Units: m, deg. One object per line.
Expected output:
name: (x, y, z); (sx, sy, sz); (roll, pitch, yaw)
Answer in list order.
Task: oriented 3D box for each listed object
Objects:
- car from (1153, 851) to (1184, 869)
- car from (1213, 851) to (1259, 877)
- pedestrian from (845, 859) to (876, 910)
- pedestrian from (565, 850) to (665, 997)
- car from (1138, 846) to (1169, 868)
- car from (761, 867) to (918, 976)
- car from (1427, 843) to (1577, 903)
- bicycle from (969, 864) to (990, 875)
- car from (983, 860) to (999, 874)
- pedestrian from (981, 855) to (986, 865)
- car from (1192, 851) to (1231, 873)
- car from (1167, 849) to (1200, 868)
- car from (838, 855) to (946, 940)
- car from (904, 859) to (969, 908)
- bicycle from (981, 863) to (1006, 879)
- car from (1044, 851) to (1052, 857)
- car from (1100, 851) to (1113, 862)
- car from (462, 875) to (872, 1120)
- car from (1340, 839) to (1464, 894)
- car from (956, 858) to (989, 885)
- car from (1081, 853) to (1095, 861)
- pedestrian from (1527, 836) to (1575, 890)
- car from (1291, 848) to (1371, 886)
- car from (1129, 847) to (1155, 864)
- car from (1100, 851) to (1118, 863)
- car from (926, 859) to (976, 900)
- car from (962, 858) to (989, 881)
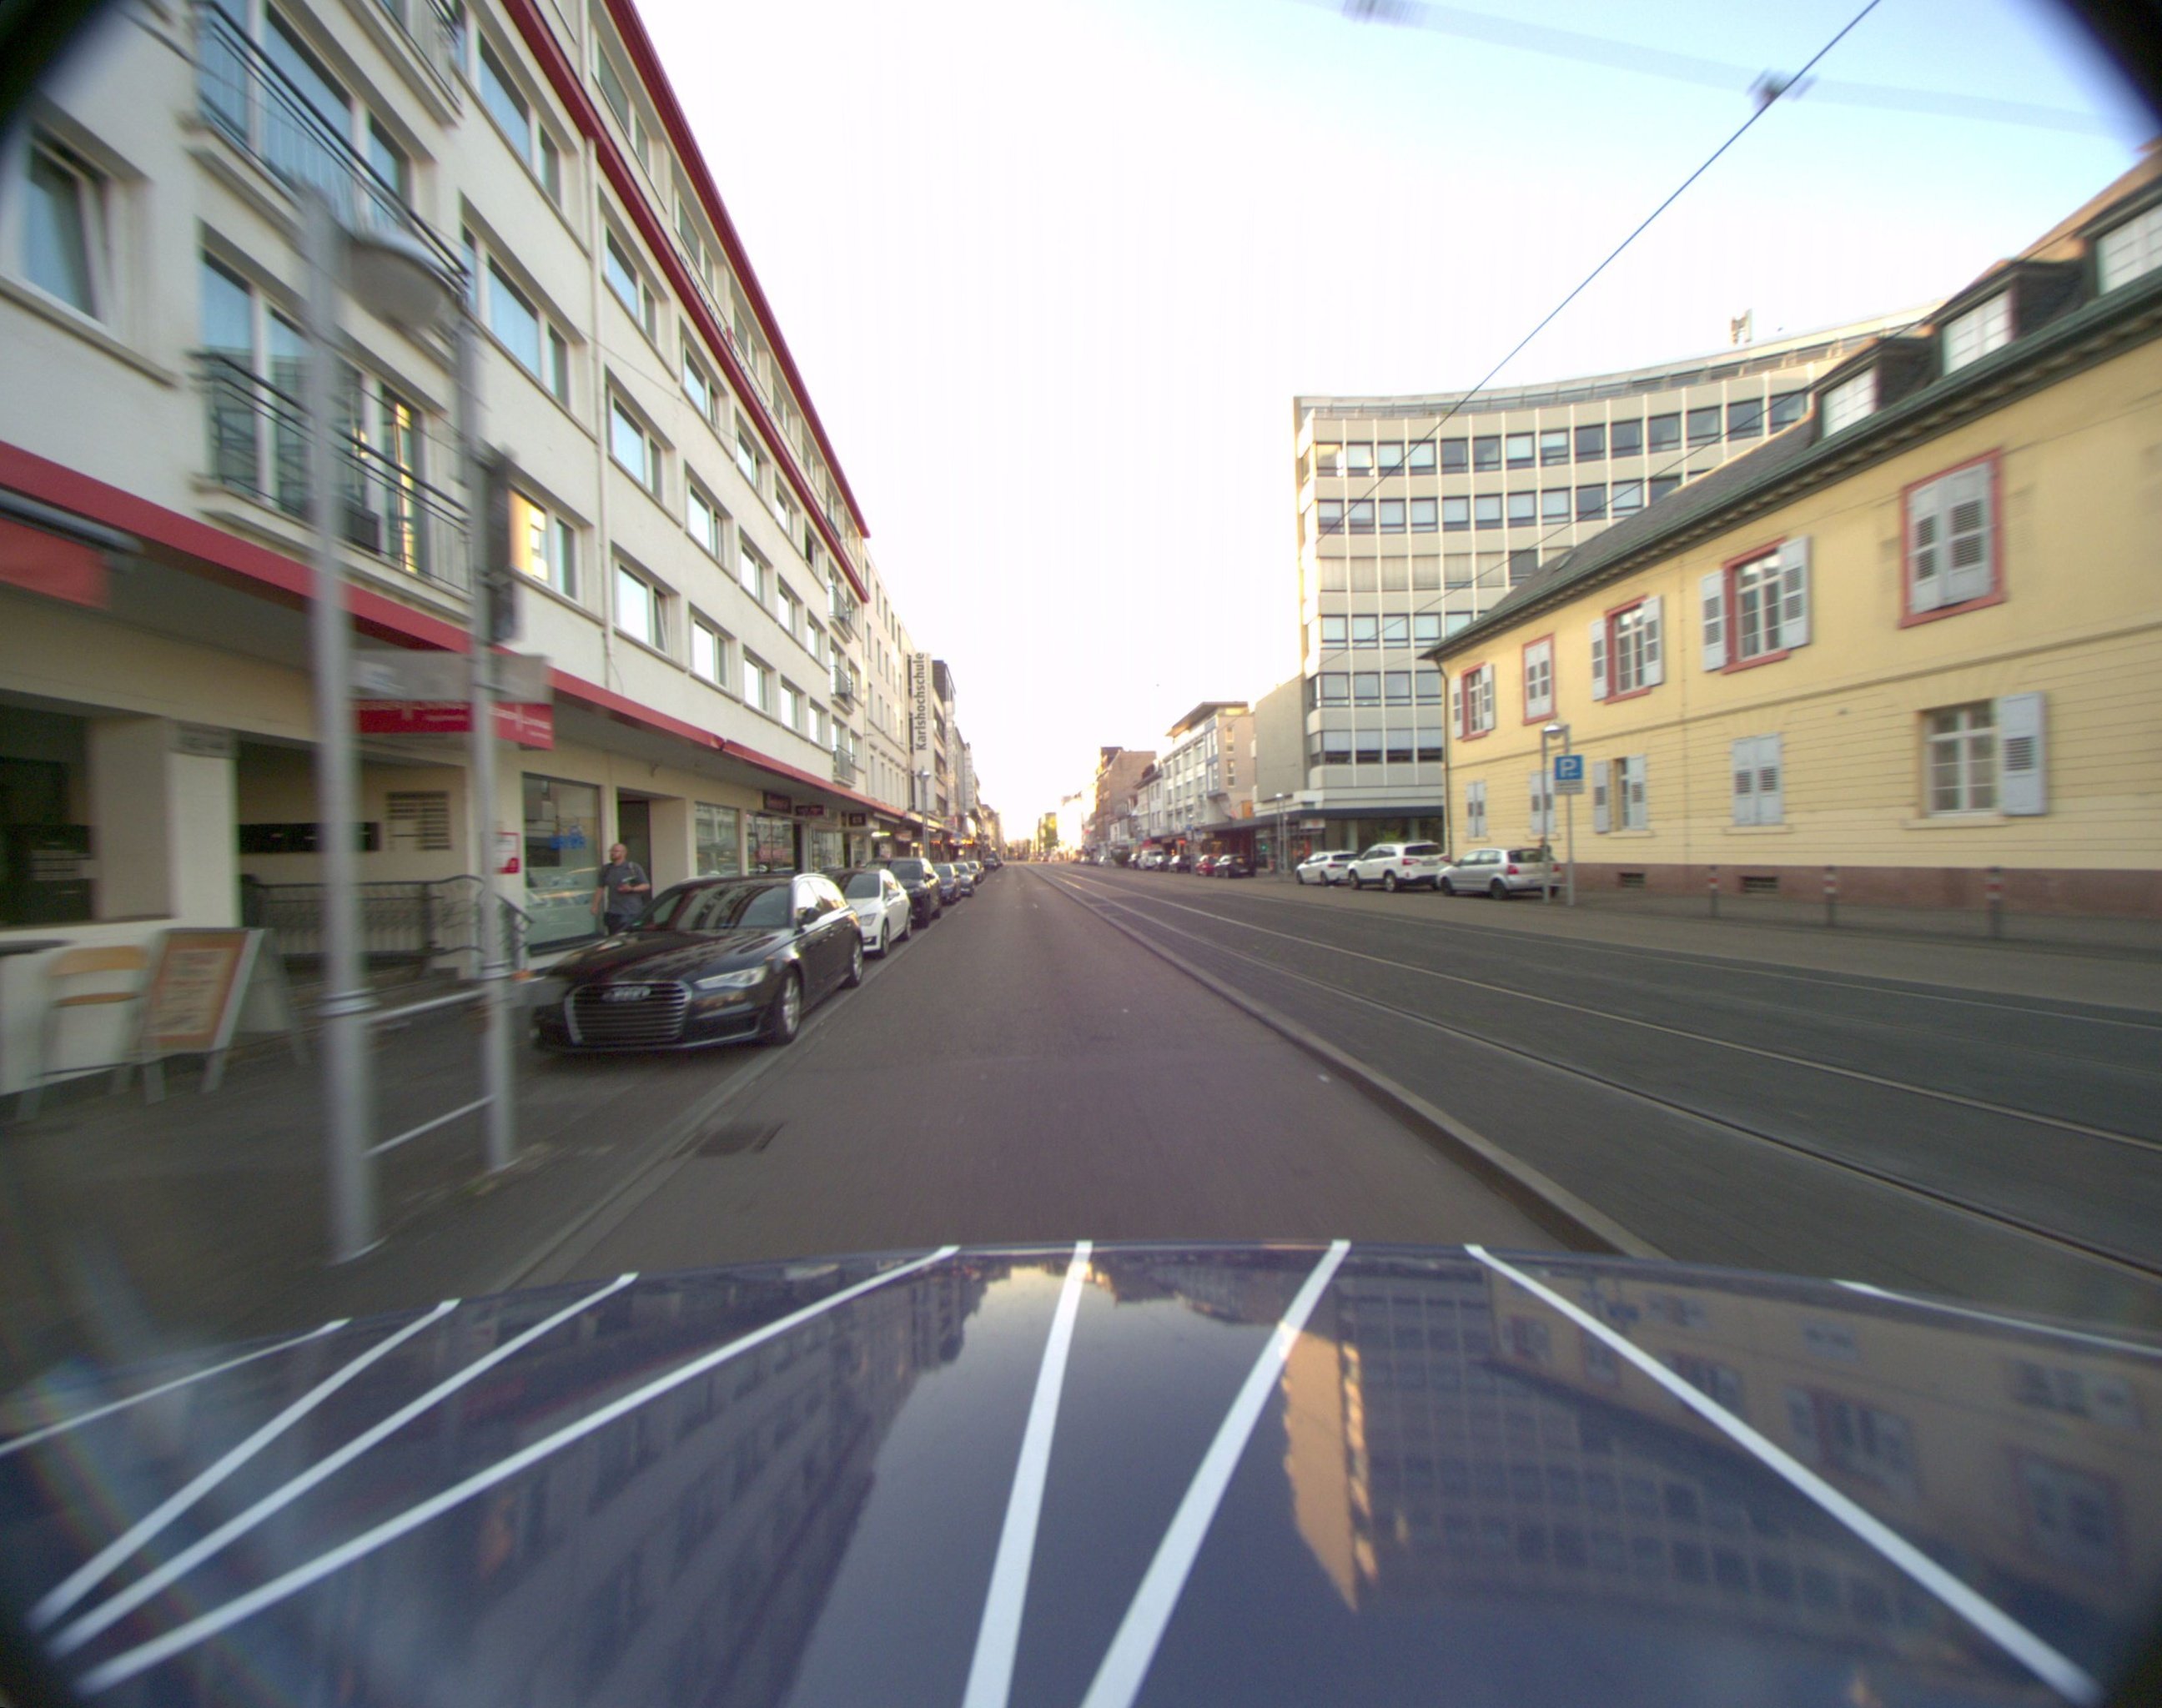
car: (7.841, 0.512, 68.402); (1.877, 1.418, 4.568); (-4, 1, -5)
car: (9.553, 0.593, 47.116); (1.697, 1.417, 3.963); (-4, 0, -5)
pedestrian: (-6.989, 0.943, 24.125); (0.735, 1.564, 0.966); (-2, 0, -5)
pedestrian: (-6.243, 0.891, 10.231); (0.777, 1.869, 0.934); (-1, 1, -7)
car: (7.164, 0.272, 75.808); (1.970, 2.002, 5.096); (-4, 1, -6)
car: (-4.015, 1.036, 13.362); (1.656, 1.412, 4.189); (-4, 1, -5)
car: (11.900, 0.503, 21.795); (1.753, 1.465, 3.998); (-4, 0, -5)
bicycle: (-8.727, 1.311, 65.231); (1.800, 0.967, 0.575); (0, 0, -8)
car: (-11.067, 1.598, 93.625); (1.745, 1.532, 3.963); (-2, 1, -5)
pedestrian: (-17.020, 0.980, 132.584); (0.743, 1.746, 0.789); (0, 1, -9)
car: (8.918, 0.548, 52.219); (1.696, 1.426, 3.590); (-2, 0, -5)
car: (8.300, 0.377, 61.743); (1.795, 1.452, 4.089); (-1, 0, -4)
car: (-4.513, 0.951, 18.814); (1.861, 1.691, 4.415); (-4, 1, -5)
car: (-5.164, 1.016, 27.745); (1.786, 1.513, 4.355); (-4, 0, -5)
bicycle: (-6.826, 1.289, 58.979); (1.845, 1.103, 0.641); (-3, 1, -8)
car: (-9.977, -0.052, 229.723); (1.999, 1.554, 3.997); (-4, 1, -6)
car: (3.845, 0.365, 115.197); (1.660, 1.562, 3.469); (-3, 1, -3)
car: (-3.482, 1.048, 7.595); (1.795, 1.404, 4.684); (-4, 1, -5)
car: (11.243, 0.414, 27.027); (1.892, 1.651, 4.758); (-4, 0, -7)
car: (-6.953, 1.064, 48.813); (1.770, 1.505, 4.069); (-4, 1, -5)
car: (1.363, 0.608, 142.753); (2.000, 1.412, 4.400); (-4, 1, -7)
pedestrian: (14.029, 0.272, 22.685); (0.802, 1.533, 0.877); (-3, 1, -3)
car: (10.852, 0.534, 33.311); (1.726, 1.444, 4.281); (-4, 0, -5)
car: (6.487, 0.134, 81.386); (1.999, 1.687, 4.586); (-4, 1, -5)
car: (4.047, 0.429, 109.969); (1.897, 1.547, 4.620); (-4, 1, -5)
car: (-5.701, 1.046, 33.775); (1.797, 1.524, 4.854); (-4, 1, -6)
car: (-7.716, 1.108, 55.986); (1.659, 1.454, 4.020); (-4, 1, -5)
